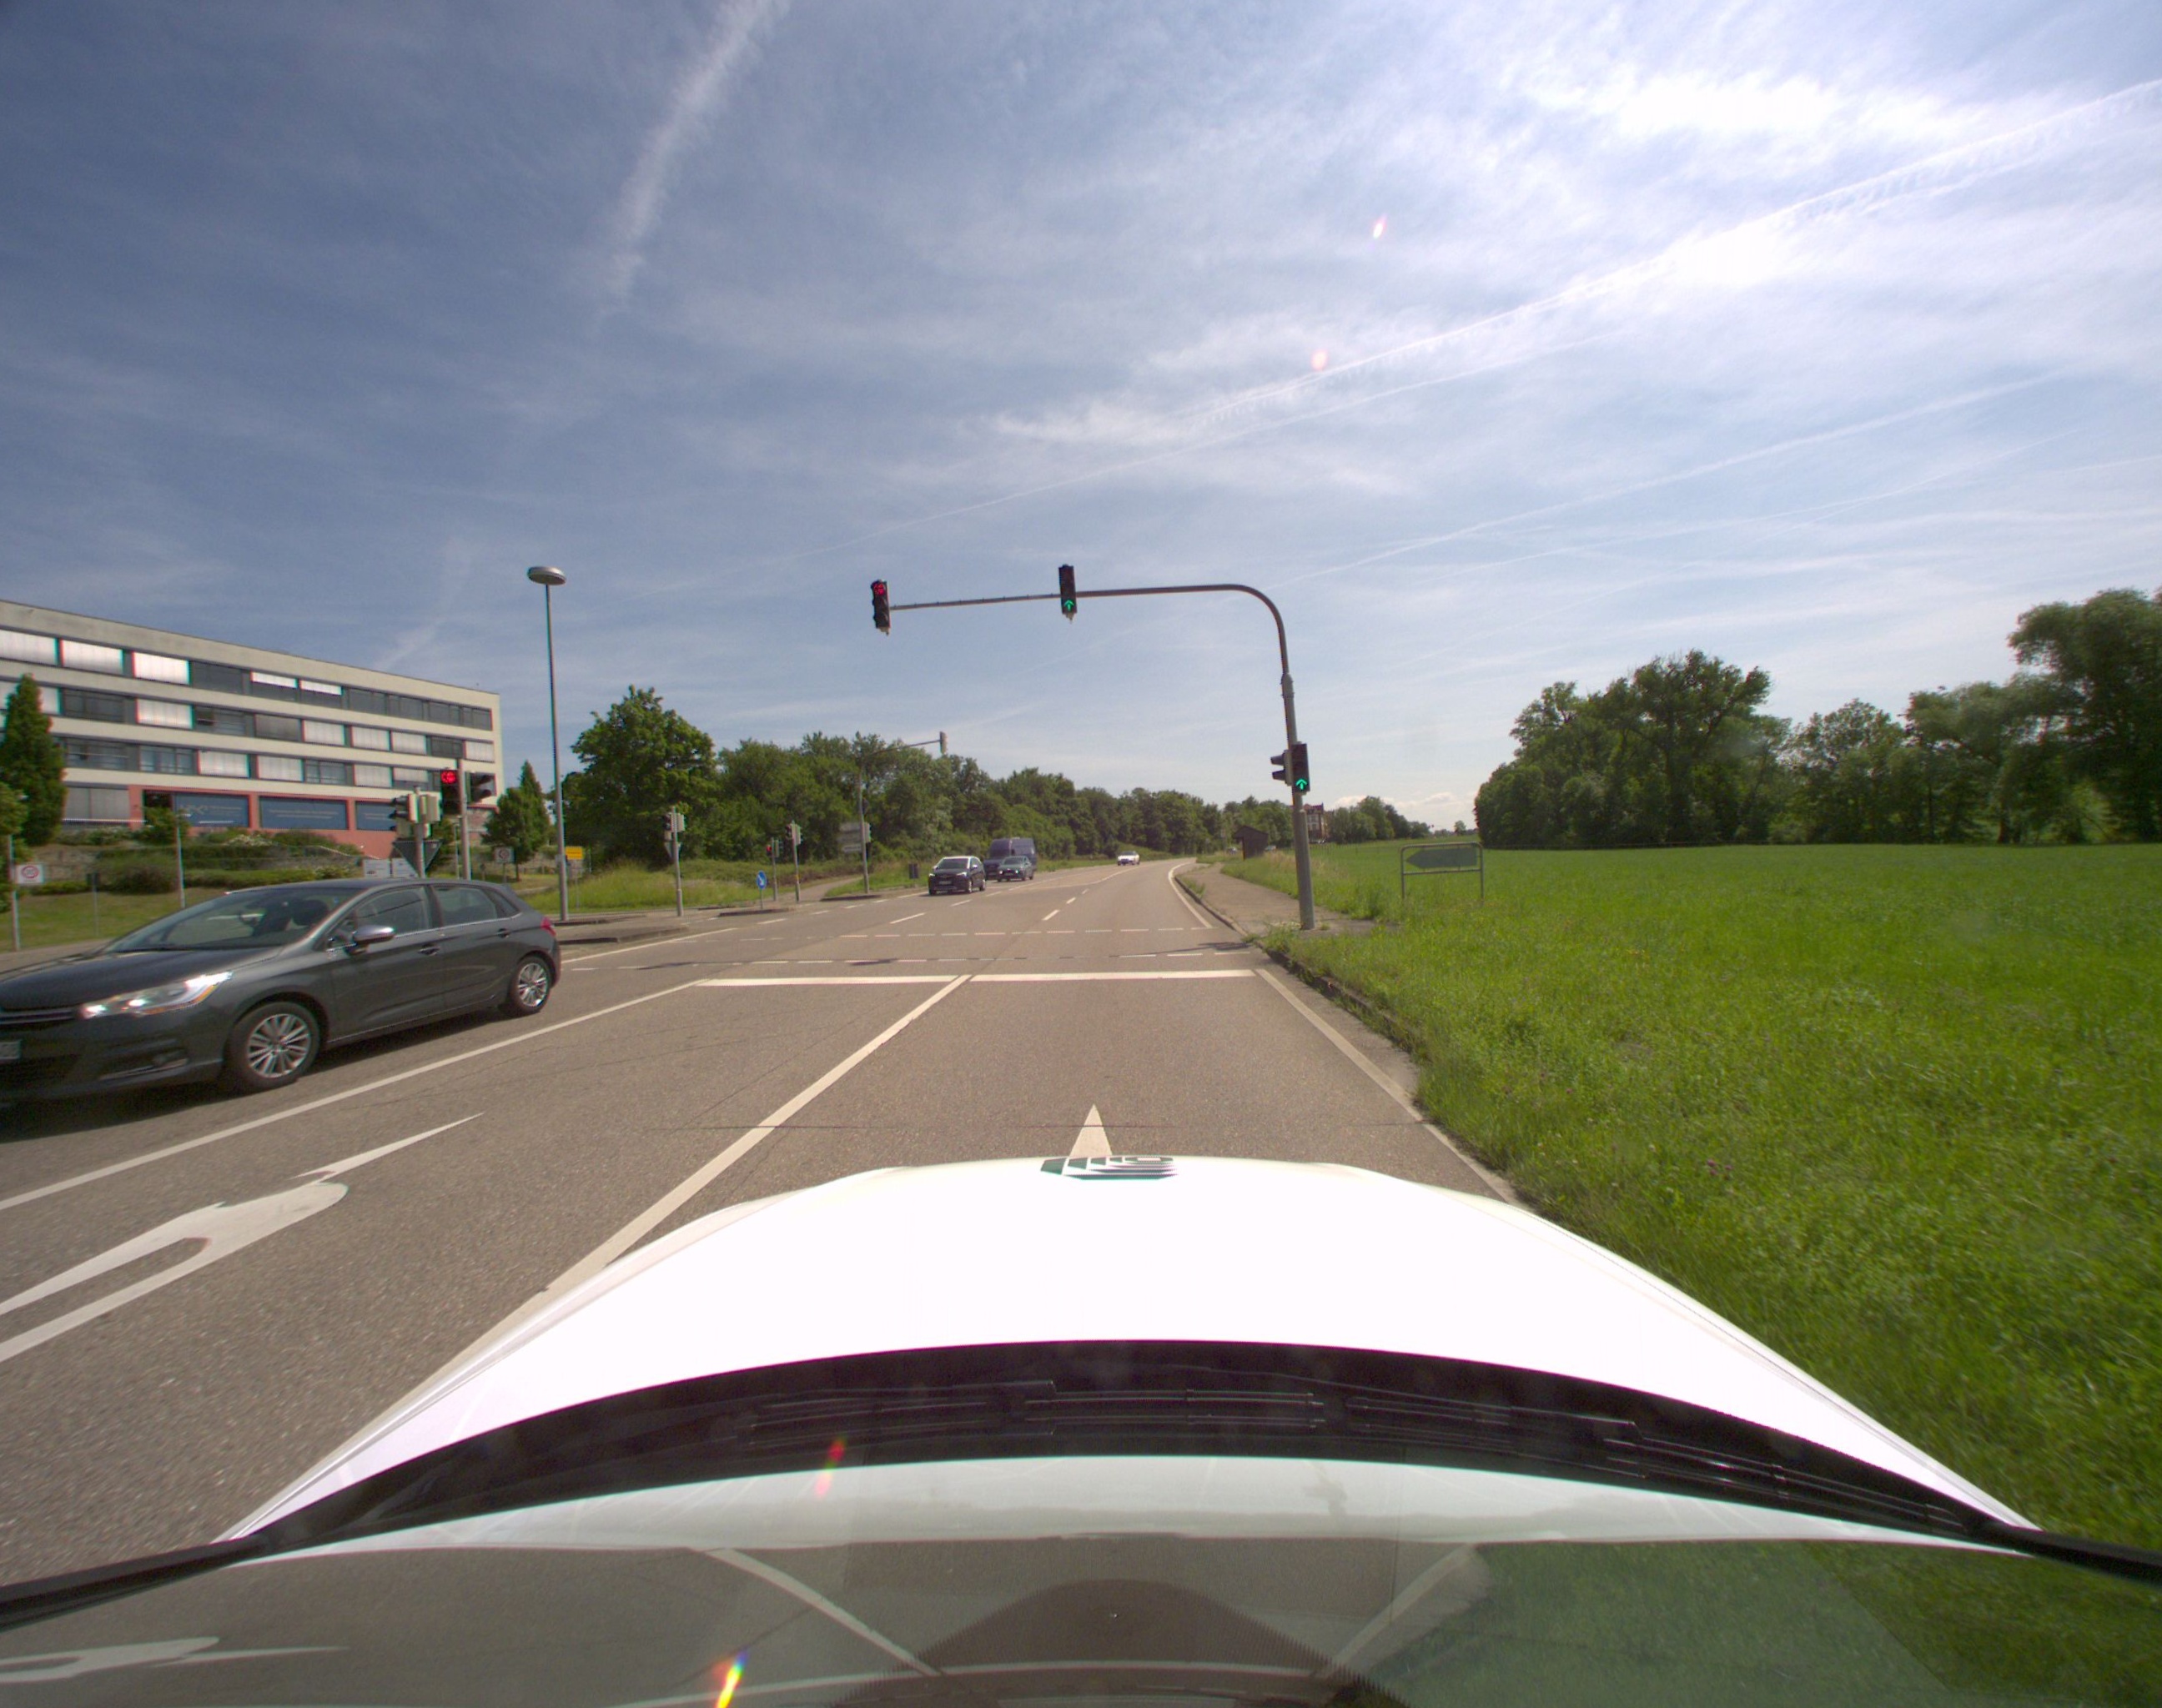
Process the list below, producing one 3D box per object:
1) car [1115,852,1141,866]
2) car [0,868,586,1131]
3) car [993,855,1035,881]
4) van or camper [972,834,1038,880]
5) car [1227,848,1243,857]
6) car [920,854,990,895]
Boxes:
[{"bbox_3d":[5.341,0.545,91.713,1.923,1.548,4.645,-2,0,14],"label":"car"},{"bbox_3d":[-6.494,0.921,7.001,1.785,1.474,4.310,-2,0,0],"label":"car"},{"bbox_3d":[-3.995,0.817,49.122,1.697,1.483,3.840,-2,0,8],"label":"car"},{"bbox_3d":[-5.200,0.102,57.285,2.224,2.913,7.275,-3,1,14],"label":"van or camper"},{"bbox_3d":[27.861,-0.318,147.470,1.975,1.574,4.023,-2,0,24],"label":"car"},{"bbox_3d":[-5.286,0.842,34.735,1.965,1.562,4.195,-2,0,5],"label":"car"}]
